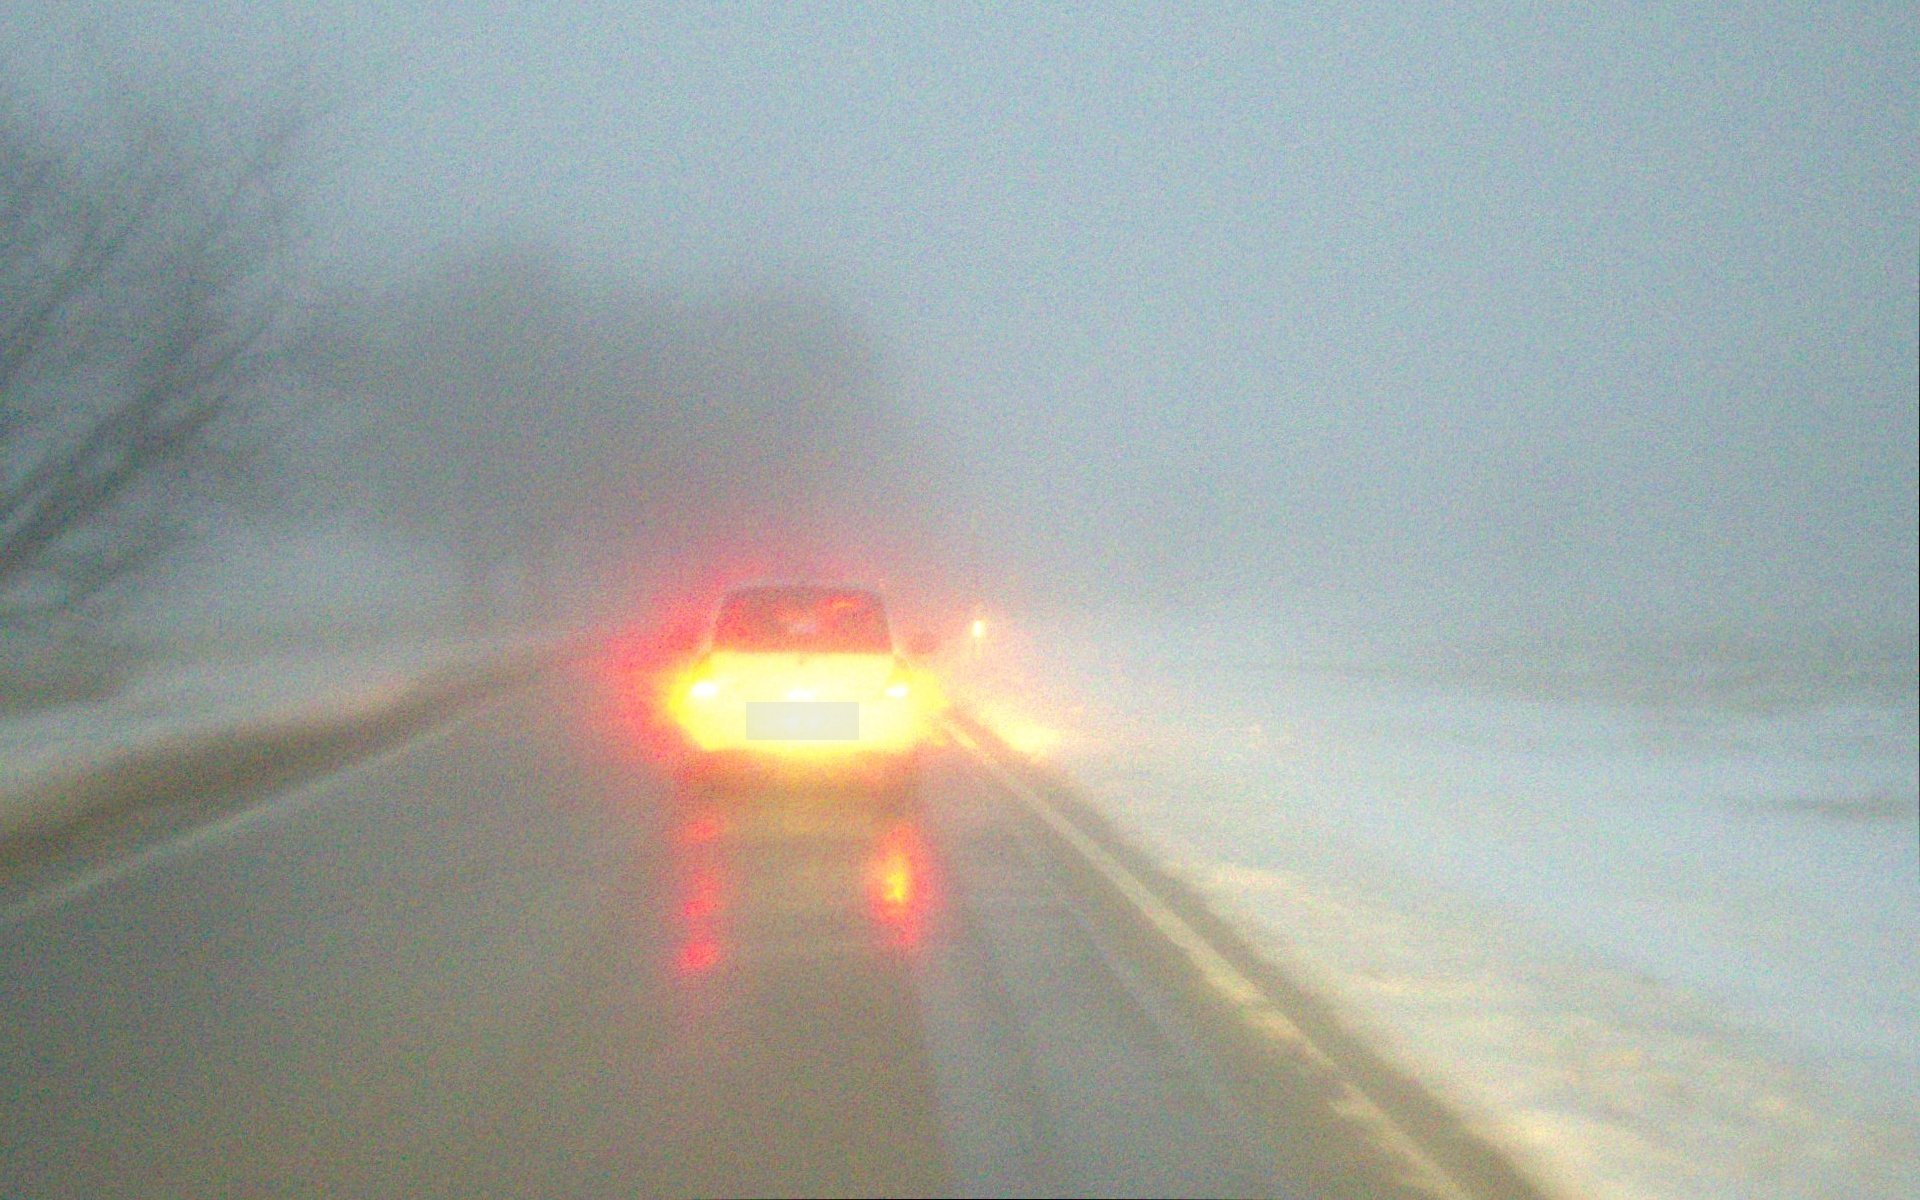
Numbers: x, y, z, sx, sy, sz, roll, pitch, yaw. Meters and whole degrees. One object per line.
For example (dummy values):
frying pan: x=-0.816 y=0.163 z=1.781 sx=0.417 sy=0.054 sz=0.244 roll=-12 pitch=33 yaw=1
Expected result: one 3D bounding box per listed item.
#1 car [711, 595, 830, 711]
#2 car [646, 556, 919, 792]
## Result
car: x=-2.544 y=0.687 z=46.560 sx=1.478 sy=1.503 sz=3.053 roll=0 pitch=0 yaw=-1
car: x=-1.216 y=0.453 z=24.051 sx=1.707 sy=1.458 sz=4.000 roll=2 pitch=1 yaw=-2
